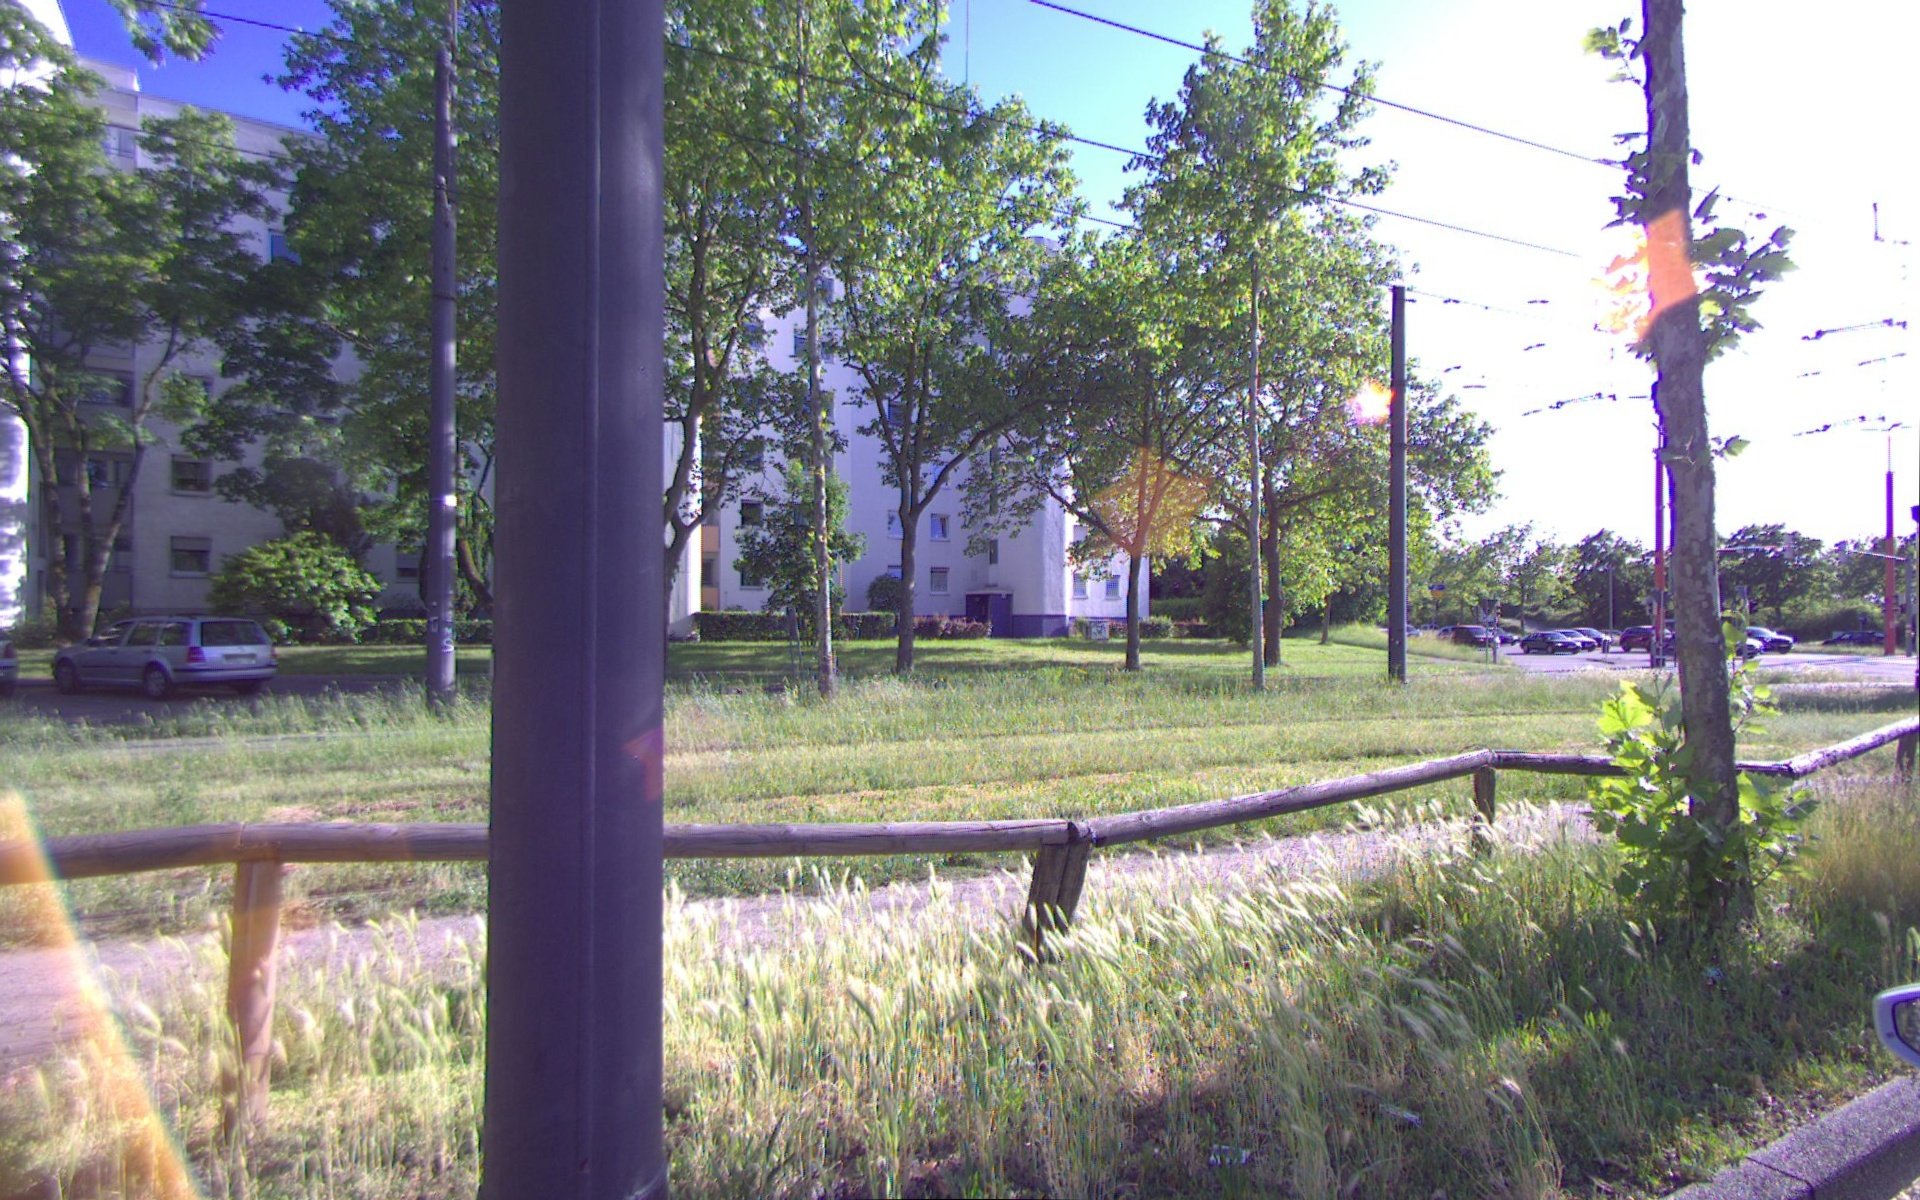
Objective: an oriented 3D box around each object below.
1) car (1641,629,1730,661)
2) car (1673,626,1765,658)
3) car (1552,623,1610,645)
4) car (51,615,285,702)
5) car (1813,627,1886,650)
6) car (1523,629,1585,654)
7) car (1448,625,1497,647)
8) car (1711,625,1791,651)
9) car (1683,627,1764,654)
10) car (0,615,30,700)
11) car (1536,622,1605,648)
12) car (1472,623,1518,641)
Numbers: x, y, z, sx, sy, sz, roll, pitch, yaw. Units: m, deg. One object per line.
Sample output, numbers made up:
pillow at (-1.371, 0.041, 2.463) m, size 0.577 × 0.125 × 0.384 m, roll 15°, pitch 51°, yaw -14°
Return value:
car at (38.785, 2.393, 53.826) m, size 1.624 × 1.540 × 4.198 m, roll 1°, pitch -1°, yaw -3°
car at (42.739, 2.328, 56.714) m, size 1.721 × 1.669 × 4.644 m, roll 1°, pitch -1°, yaw 1°
car at (45.306, 2.457, 73.340) m, size 1.513 × 1.434 × 4.154 m, roll 1°, pitch -1°, yaw -3°
car at (-14.529, 1.012, 18.437) m, size 3.830 × 1.421 × 1.581 m, roll 1°, pitch 0°, yaw 20°
car at (63.315, 2.706, 71.574) m, size 1.625 × 1.476 × 3.925 m, roll 1°, pitch -1°, yaw -3°
car at (39.216, 2.714, 66.417) m, size 1.624 × 1.540 × 4.200 m, roll 1°, pitch -1°, yaw 1°
car at (38.720, 2.715, 75.970) m, size 1.624 × 1.540 × 4.200 m, roll 1°, pitch -1°, yaw 1°
car at (48.657, 2.320, 61.907) m, size 1.513 × 1.434 × 4.154 m, roll 1°, pitch -1°, yaw -3°
car at (45.578, 2.391, 60.073) m, size 1.513 × 1.434 × 4.154 m, roll 1°, pitch -1°, yaw -3°
car at (-17.979, 0.949, 17.163) m, size 3.567 × 1.421 × 1.581 m, roll 1°, pitch 0°, yaw 20°
car at (42.672, 2.399, 70.298) m, size 1.723 × 1.669 × 4.640 m, roll 1°, pitch -1°, yaw -5°
car at (44.896, 2.672, 84.391) m, size 1.513 × 1.434 × 4.154 m, roll 1°, pitch -1°, yaw -3°
